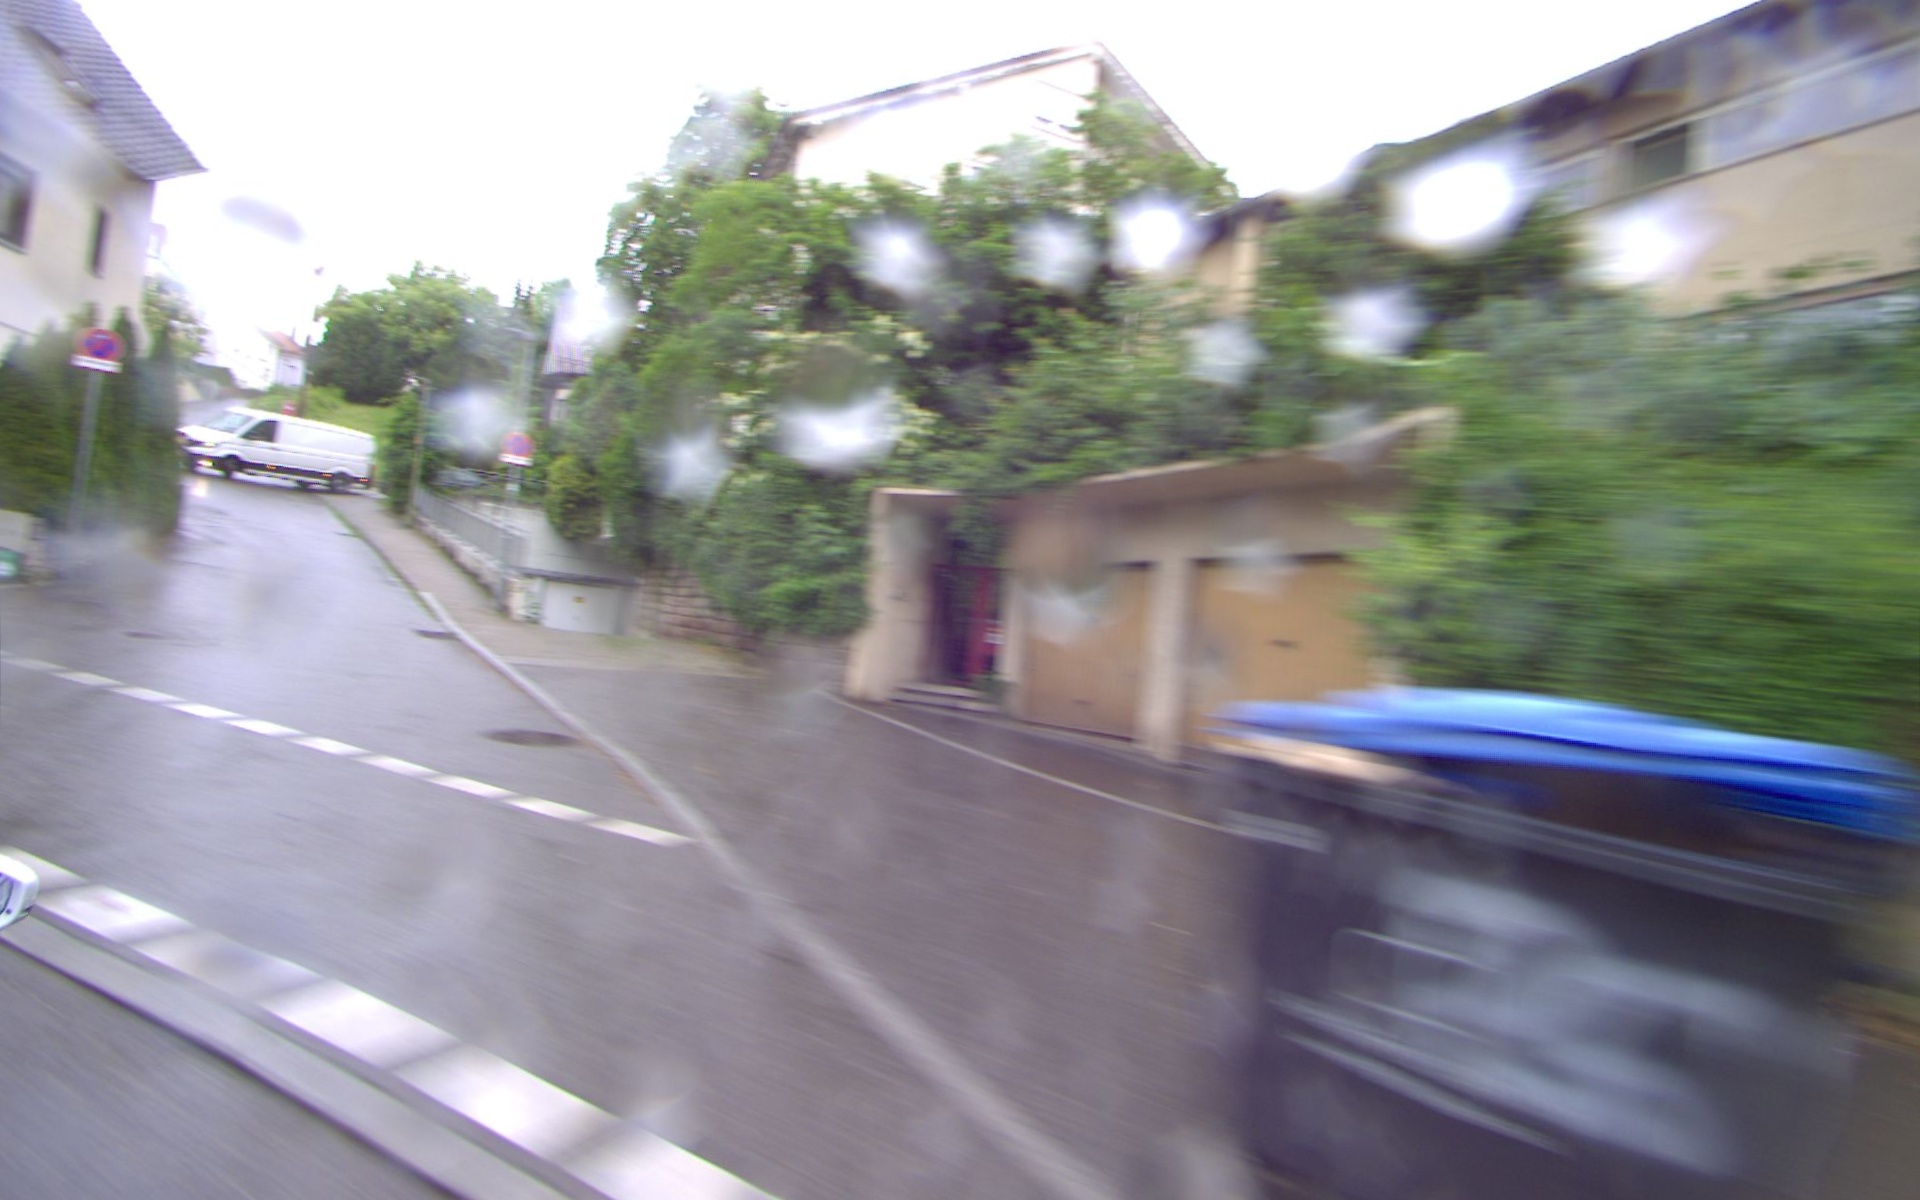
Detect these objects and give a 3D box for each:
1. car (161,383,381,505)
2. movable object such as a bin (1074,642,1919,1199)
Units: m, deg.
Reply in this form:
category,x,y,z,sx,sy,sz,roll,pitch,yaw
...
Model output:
category,x,y,z,sx,sy,sz,roll,pitch,yaw
car,-22.768,-5.081,33.621,1.963,2.681,5.712,7,-2,21
movable object such as a bin,1.257,0.911,2.370,1.149,1.427,1.469,5,1,-39
